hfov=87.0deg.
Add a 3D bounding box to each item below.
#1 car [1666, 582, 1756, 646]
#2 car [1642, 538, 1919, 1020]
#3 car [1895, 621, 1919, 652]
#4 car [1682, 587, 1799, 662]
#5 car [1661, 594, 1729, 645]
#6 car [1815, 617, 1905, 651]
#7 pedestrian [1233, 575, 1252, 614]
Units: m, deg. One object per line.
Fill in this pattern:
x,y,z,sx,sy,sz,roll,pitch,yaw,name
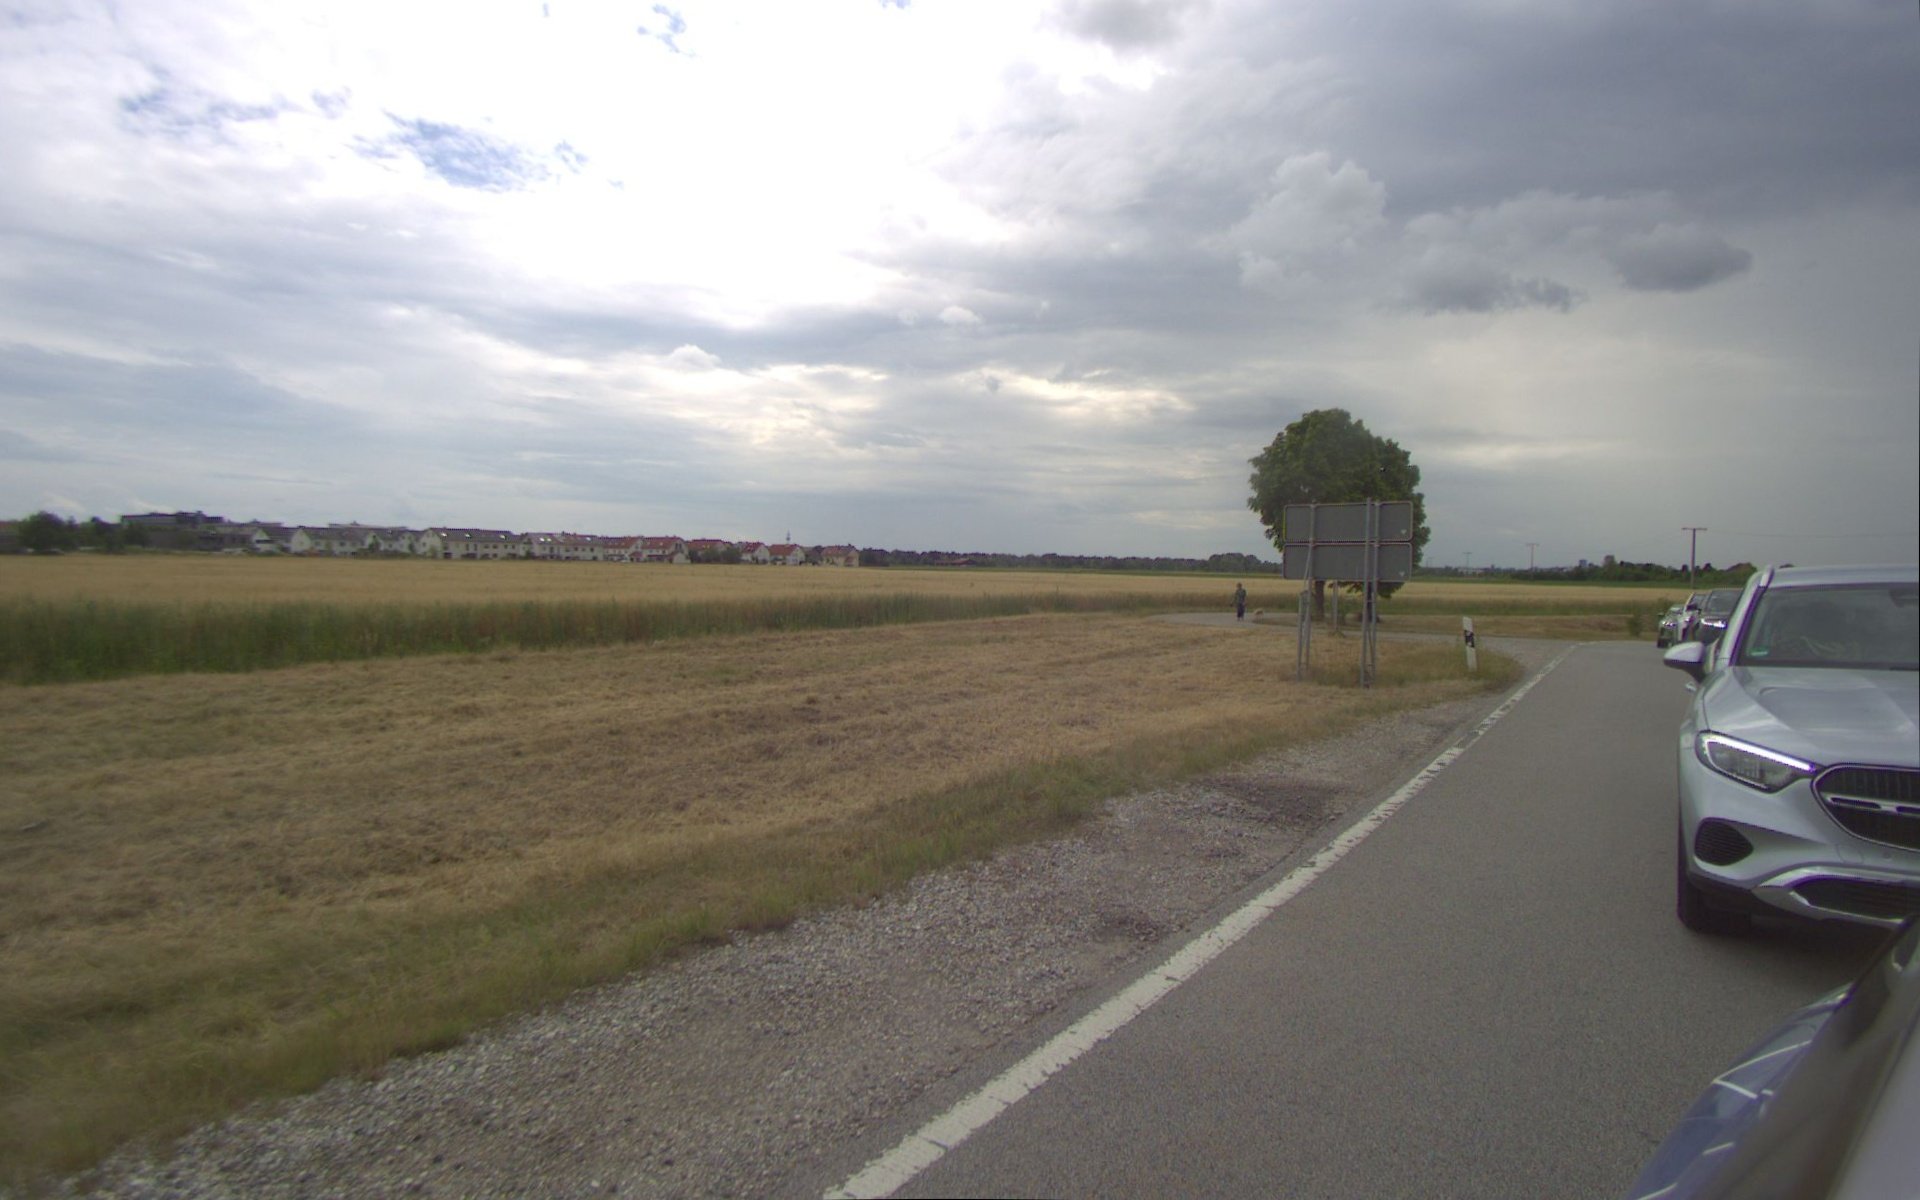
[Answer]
19.580,0.298,26.516,1.711,1.513,4.581,0,1,35,car
4.687,0.553,4.948,1.986,1.606,4.335,0,1,37,car
52.439,1.957,54.100,3.915,1.551,1.827,1,2,-17,car
16.301,0.441,21.309,1.711,1.370,4.162,0,1,35,car
24.360,0.602,33.654,1.711,1.513,4.162,0,1,35,car
45.828,1.710,51.533,3.916,1.551,1.827,1,2,-22,car
12.229,-0.247,43.787,0.763,1.631,0.940,2,2,17,pedestrian
